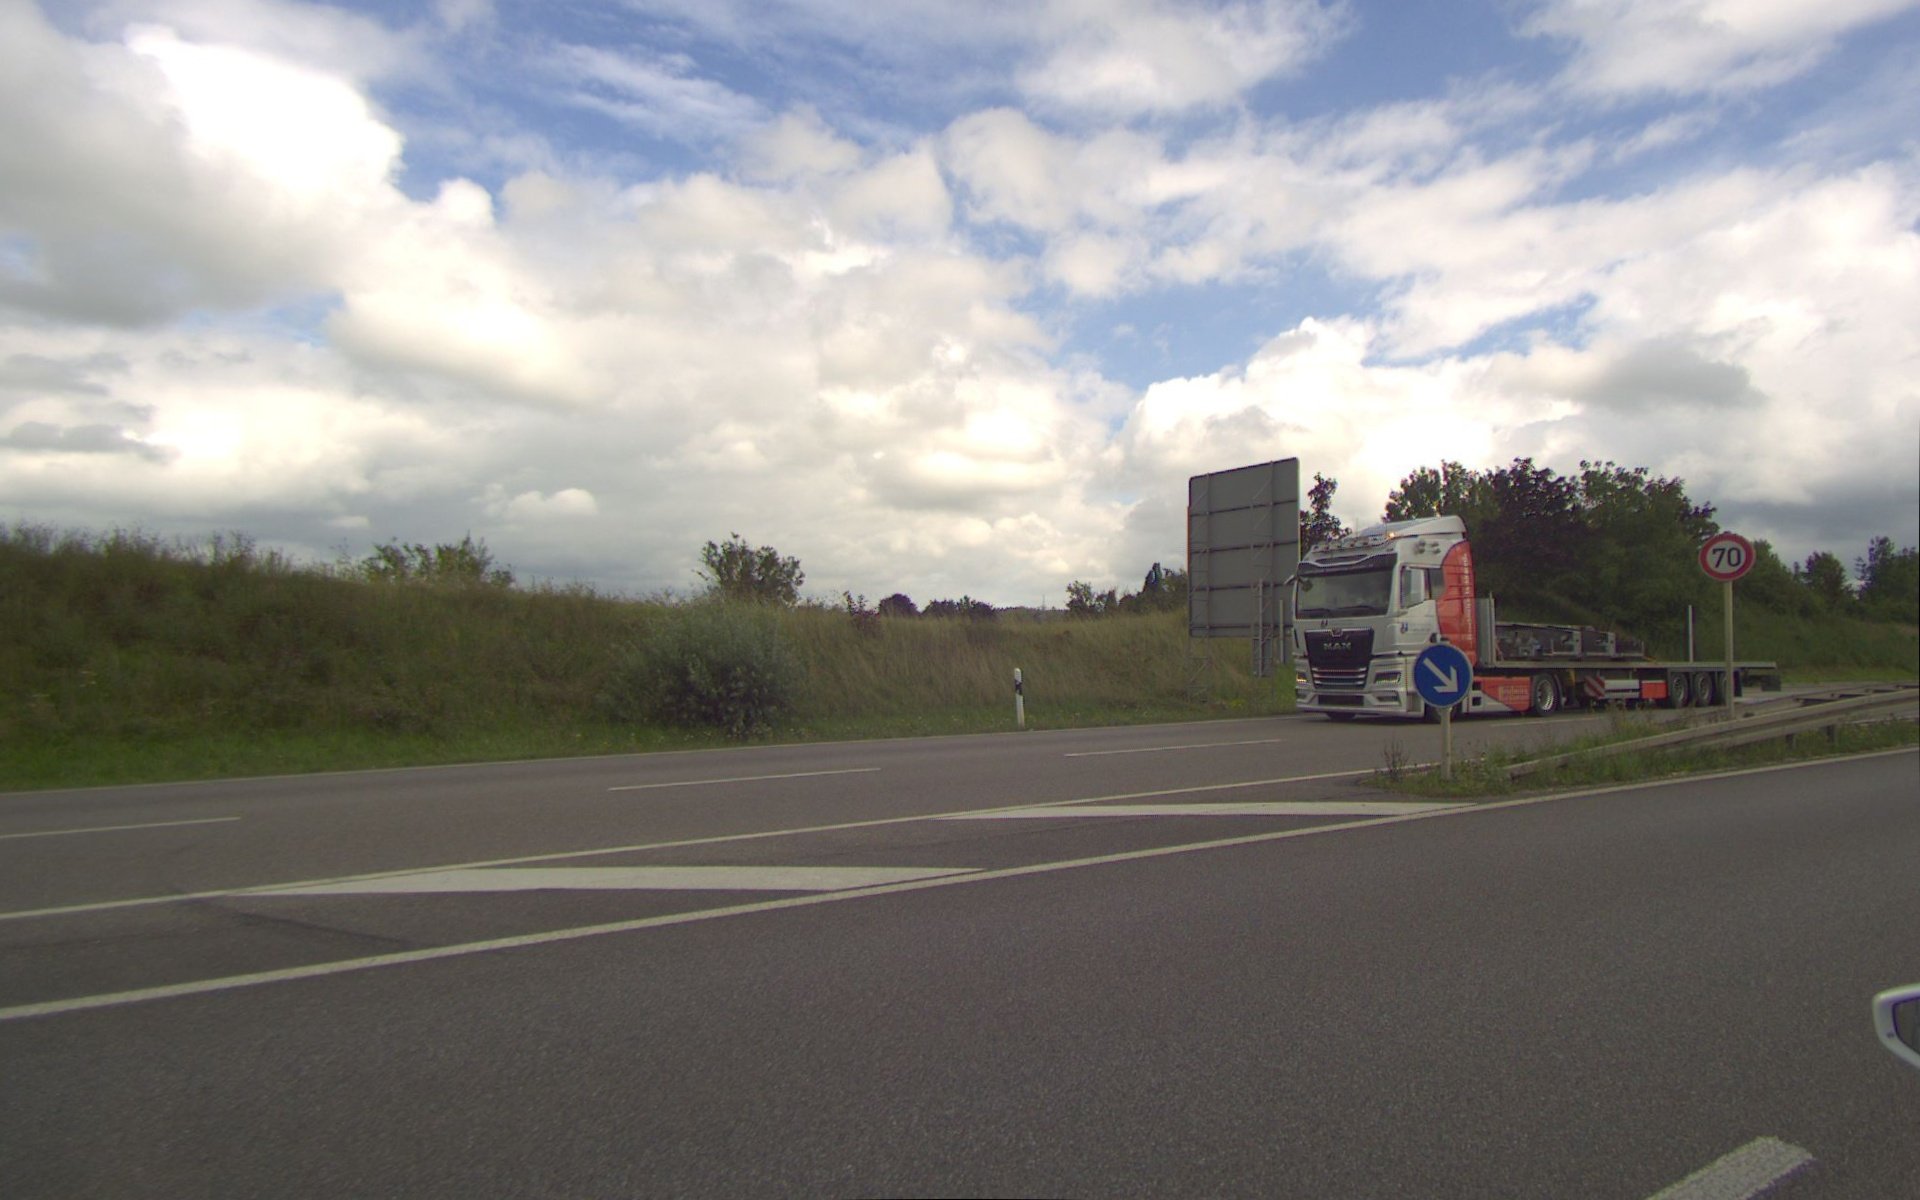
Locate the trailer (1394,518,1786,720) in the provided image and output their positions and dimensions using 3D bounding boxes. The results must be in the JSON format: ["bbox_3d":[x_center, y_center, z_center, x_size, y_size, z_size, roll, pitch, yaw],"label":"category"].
[{"bbox_3d":[15.746,0.511,24.421,12.841,3.999,2.760,1,-2,-32],"label":"trailer"}]

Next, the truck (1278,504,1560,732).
[{"bbox_3d":[9.352,0.392,20.430,5.227,4.050,2.788,1,-2,-32],"label":"truck"}]
